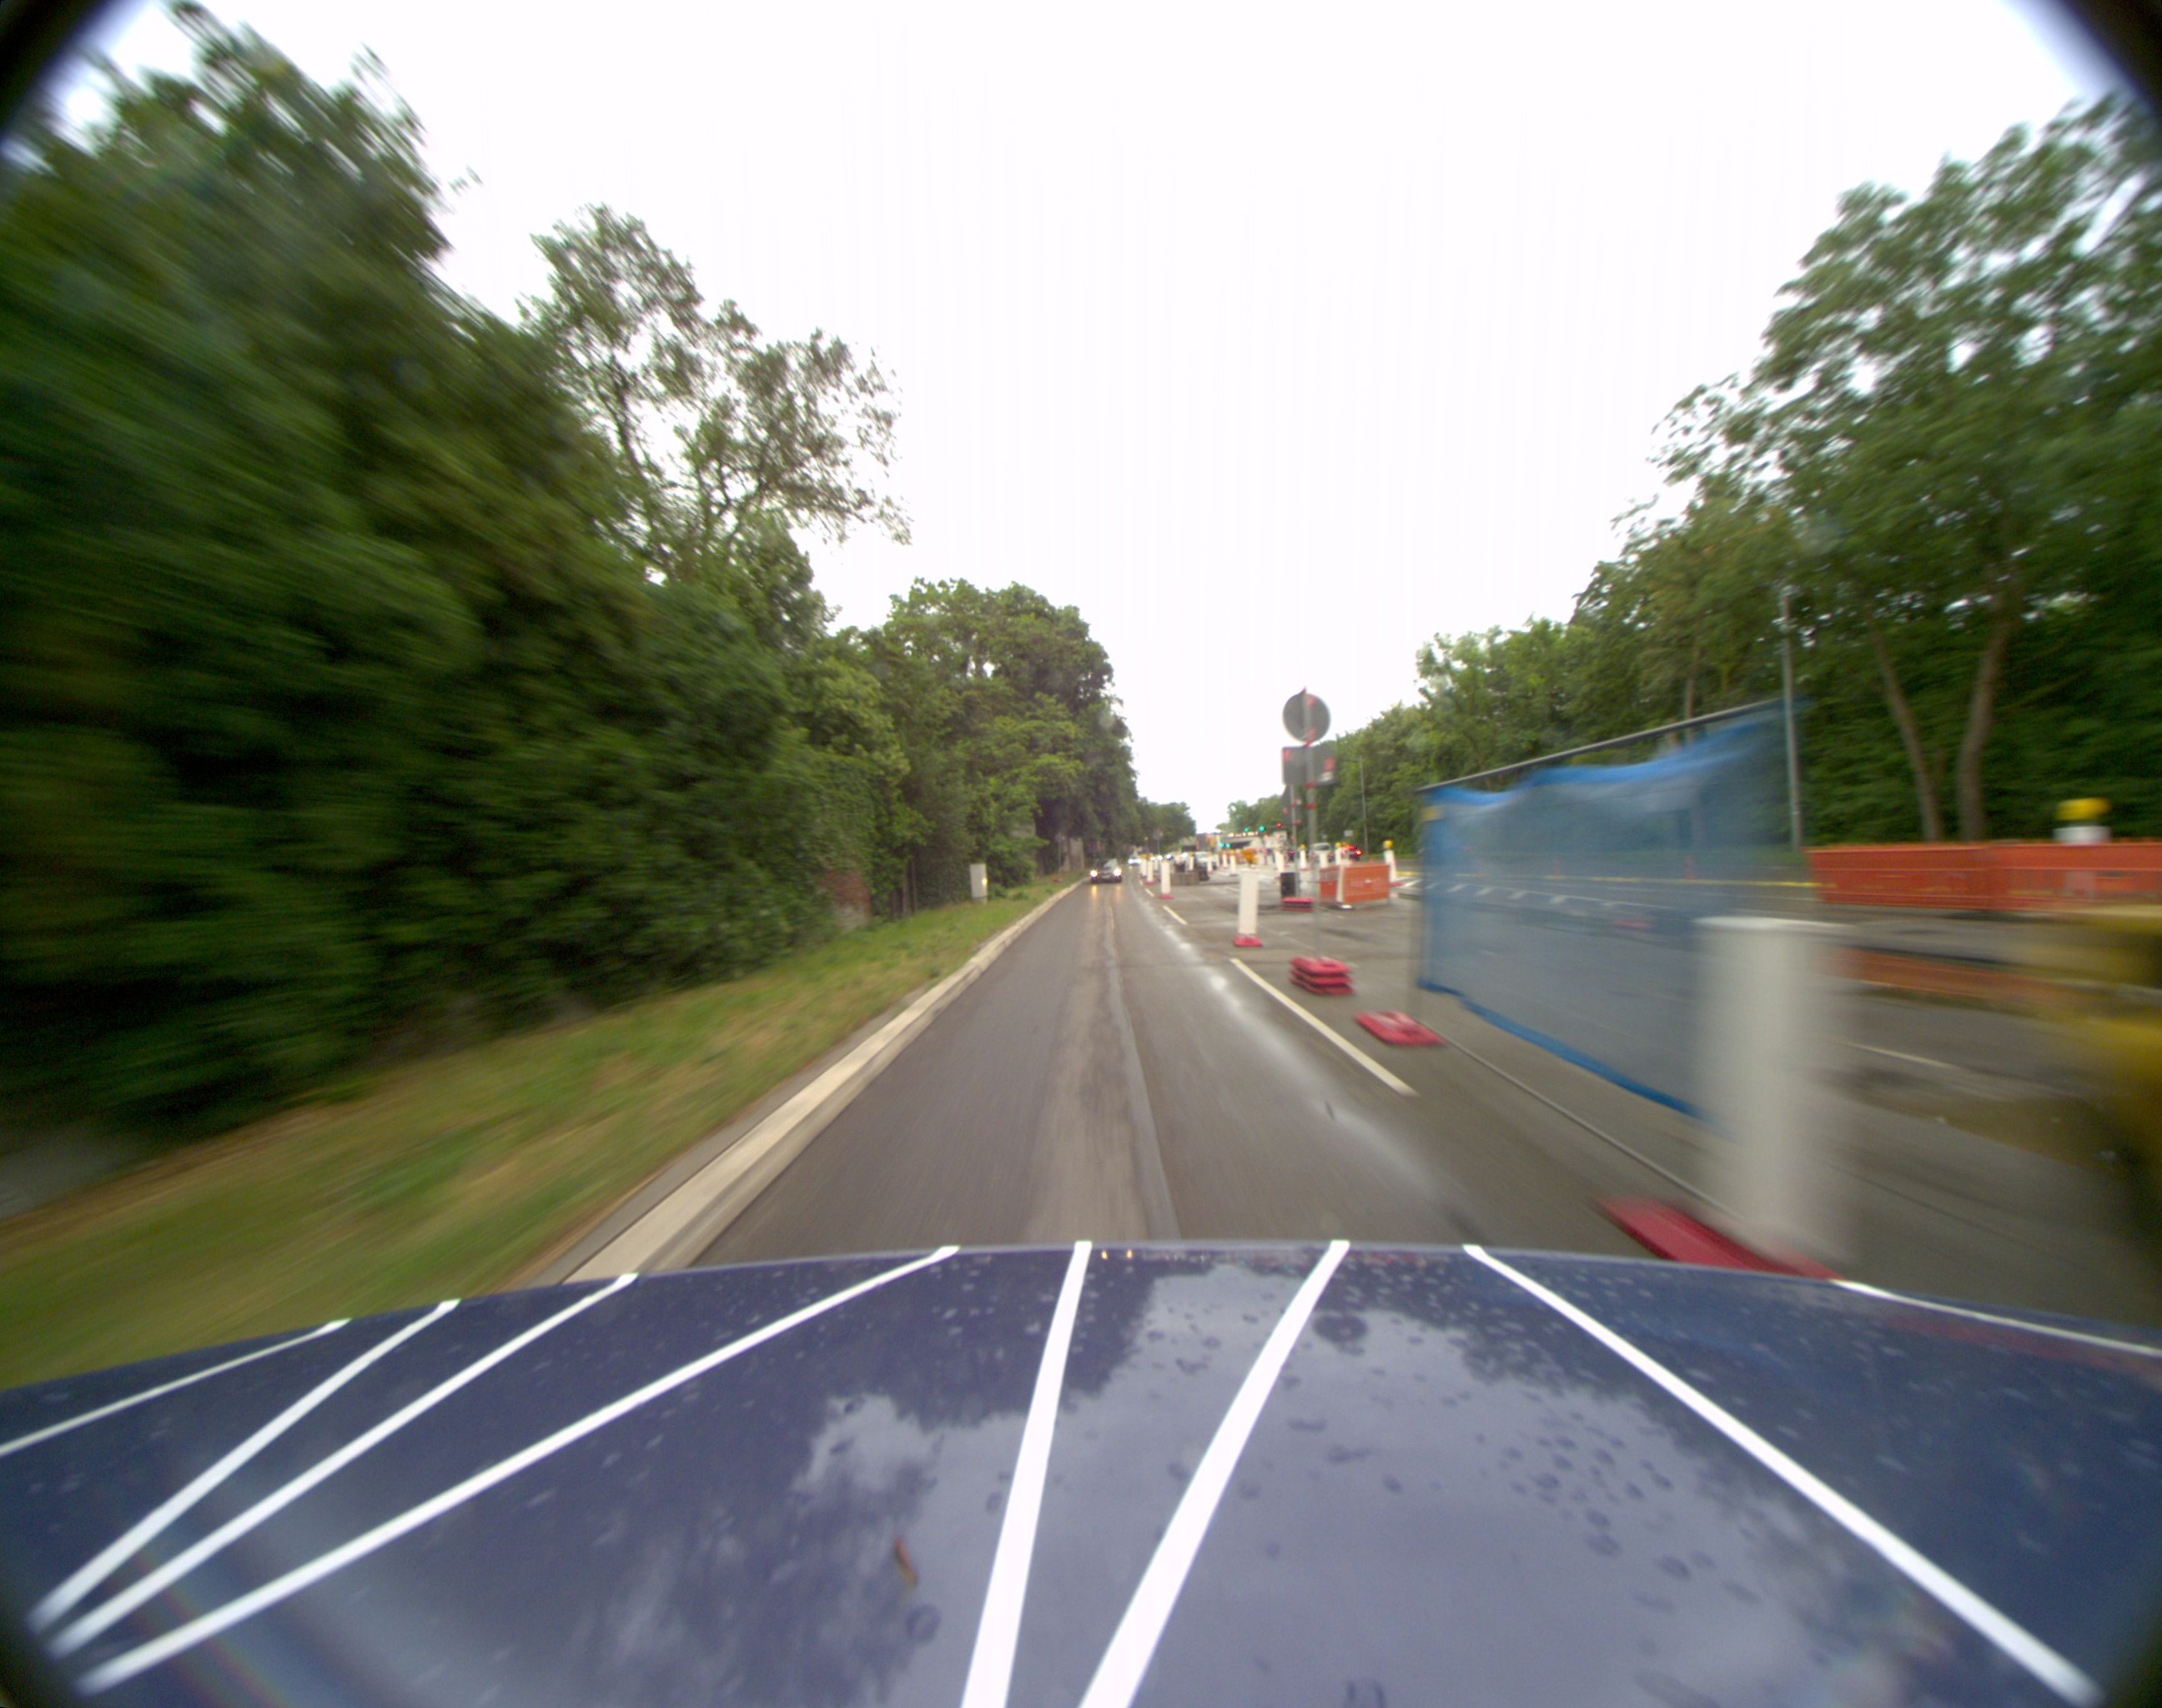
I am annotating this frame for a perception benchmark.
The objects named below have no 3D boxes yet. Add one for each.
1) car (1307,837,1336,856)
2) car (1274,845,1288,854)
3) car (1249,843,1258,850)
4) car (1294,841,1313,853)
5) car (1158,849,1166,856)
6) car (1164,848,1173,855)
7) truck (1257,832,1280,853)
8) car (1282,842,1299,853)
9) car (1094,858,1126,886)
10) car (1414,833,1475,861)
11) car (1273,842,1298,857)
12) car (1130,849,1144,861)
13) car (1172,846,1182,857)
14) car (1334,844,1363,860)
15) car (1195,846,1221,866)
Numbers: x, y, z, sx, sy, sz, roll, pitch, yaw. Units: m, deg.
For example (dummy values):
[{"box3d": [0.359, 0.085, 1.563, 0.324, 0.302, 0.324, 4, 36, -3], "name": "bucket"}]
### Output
[{"box3d": [22.443, -0.691, 70.961, 1.678, 1.604, 3.770, -2, 0, 4], "name": "car"}, {"box3d": [34.055, -0.732, 129.161, 1.907, 1.487, 3.772, -2, 0, 9], "name": "car"}, {"box3d": [37.409, -1.635, 164.784, 1.864, 1.487, 4.181, -2, 0, 11], "name": "car"}, {"box3d": [29.313, -0.947, 100.053, 1.678, 1.487, 3.771, -2, 0, 5], "name": "car"}, {"box3d": [19.438, -0.307, 181.735, 1.710, 1.434, 4.233, -2, 1, 8], "name": "car"}, {"box3d": [19.709, -0.668, 171.479, 1.710, 1.434, 4.233, -2, 1, 10], "name": "car"}, {"box3d": [36.083, -2.251, 146.469, 3.149, 3.809, 9.650, -2, 1, 8], "name": "truck"}, {"box3d": [30.261, -0.987, 109.939, 1.678, 1.487, 3.771, -2, 0, 6], "name": "car"}, {"box3d": [1.795, 1.034, 45.857, 1.701, 1.477, 4.001, -2, 1, 4], "name": "car"}, {"box3d": [23.132, -0.437, 48.528, 1.679, 1.604, 4.767, -2, 0, 2], "name": "car"}, {"box3d": [21.078, -0.446, 78.432, 1.743, 1.487, 3.770, -2, 0, 3], "name": "car"}, {"box3d": [8.399, 0.101, 113.716, 1.707, 1.681, 4.474, -2, 1, 7], "name": "car"}, {"box3d": [17.725, -0.478, 140.634, 1.693, 1.833, 4.584, -2, 1, 7], "name": "car"}, {"box3d": [25.467, -0.174, 72.403, 1.624, 1.475, 3.608, -2, 0, 4], "name": "car"}, {"box3d": [10.968, 0.185, 65.853, 1.793, 1.574, 3.862, -4, 0, 5], "name": "car"}]
